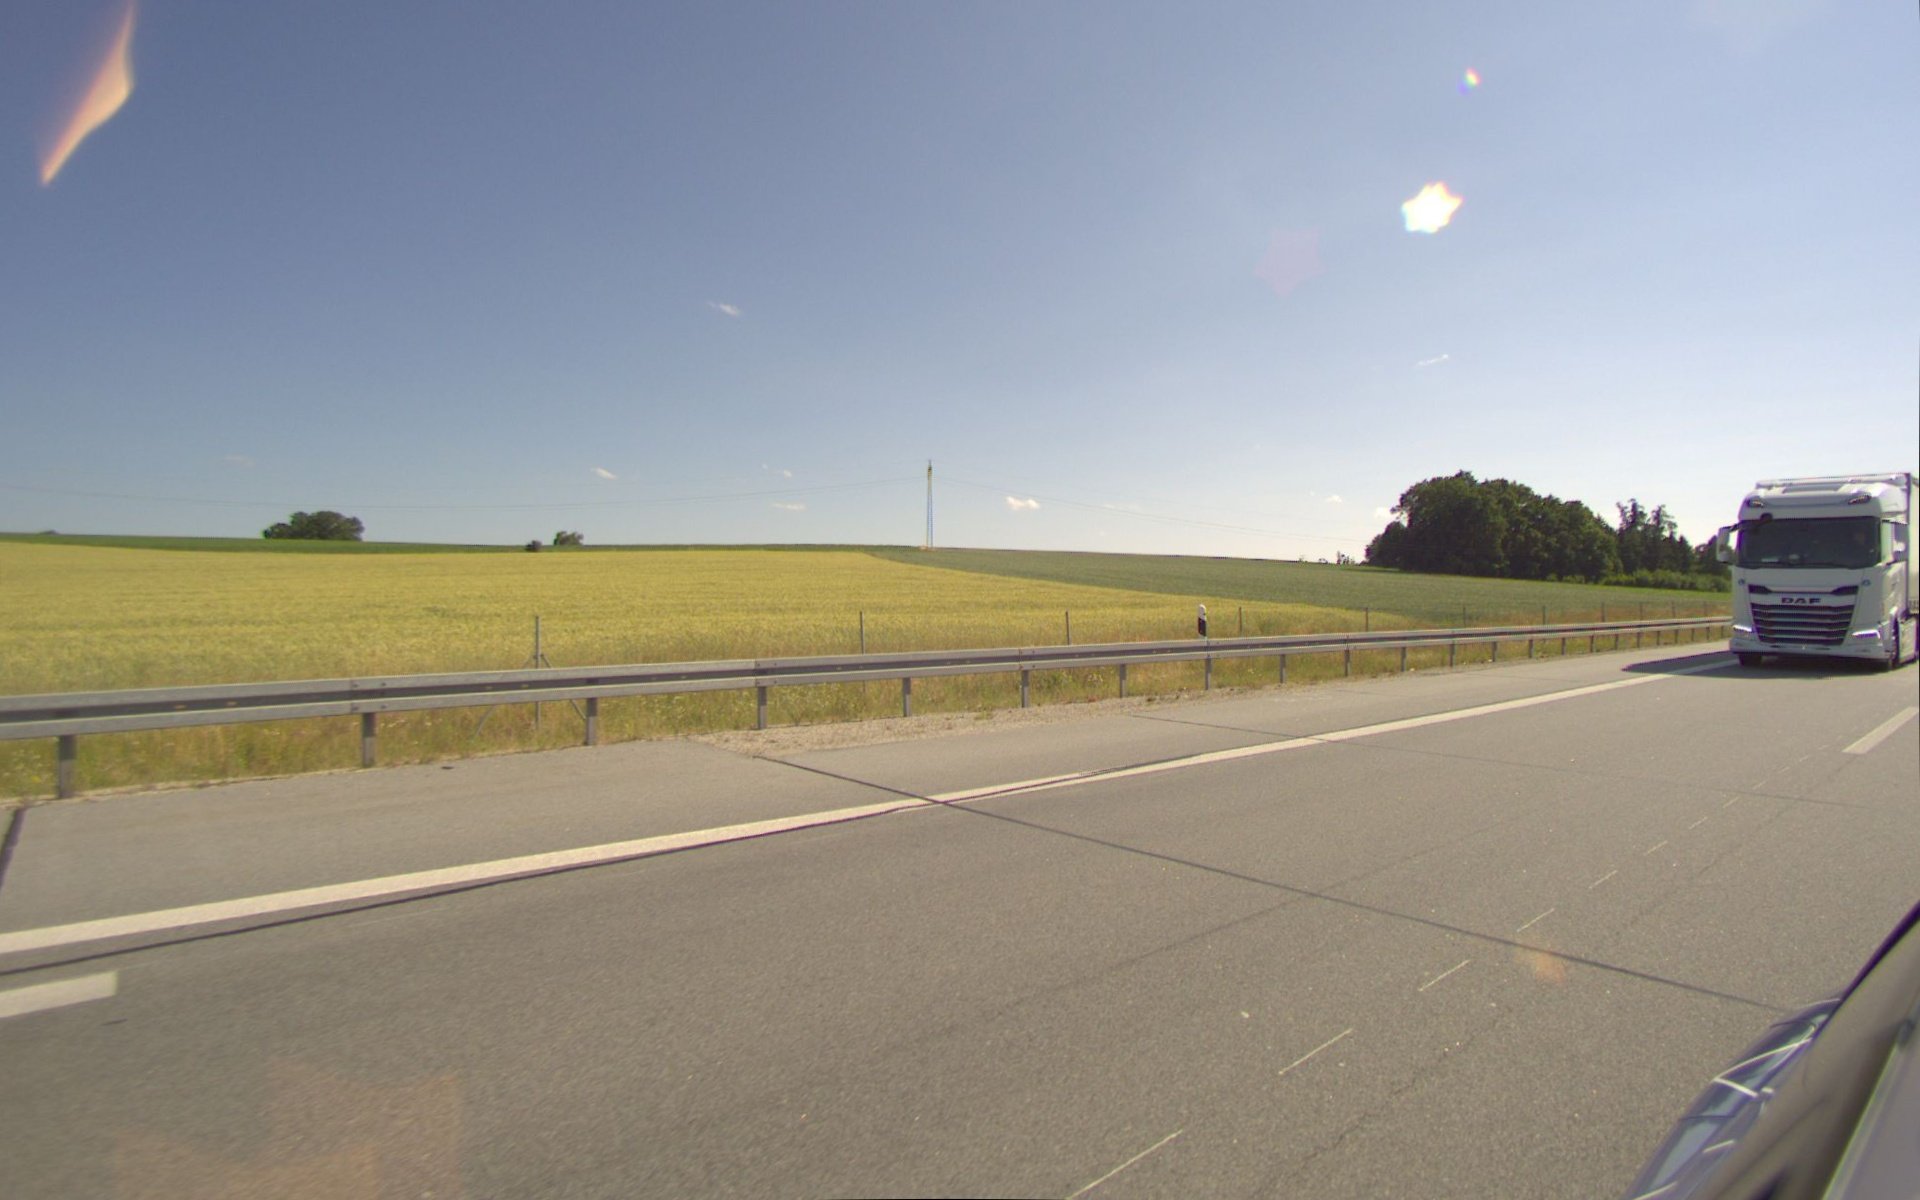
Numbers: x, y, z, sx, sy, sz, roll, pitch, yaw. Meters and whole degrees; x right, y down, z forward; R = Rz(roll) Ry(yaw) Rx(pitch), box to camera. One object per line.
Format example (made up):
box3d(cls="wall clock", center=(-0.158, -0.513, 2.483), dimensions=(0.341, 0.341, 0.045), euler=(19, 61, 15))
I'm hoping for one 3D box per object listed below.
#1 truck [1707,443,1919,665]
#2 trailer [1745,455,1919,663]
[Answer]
box3d(cls="truck", center=(18.703, -0.863, 21.695), dimensions=(6.080, 4.065, 3.088), euler=(0, 0, -41))
box3d(cls="trailer", center=(24.939, -0.955, 27.206), dimensions=(15.191, 4.347, 3.182), euler=(0, 2, -41))
